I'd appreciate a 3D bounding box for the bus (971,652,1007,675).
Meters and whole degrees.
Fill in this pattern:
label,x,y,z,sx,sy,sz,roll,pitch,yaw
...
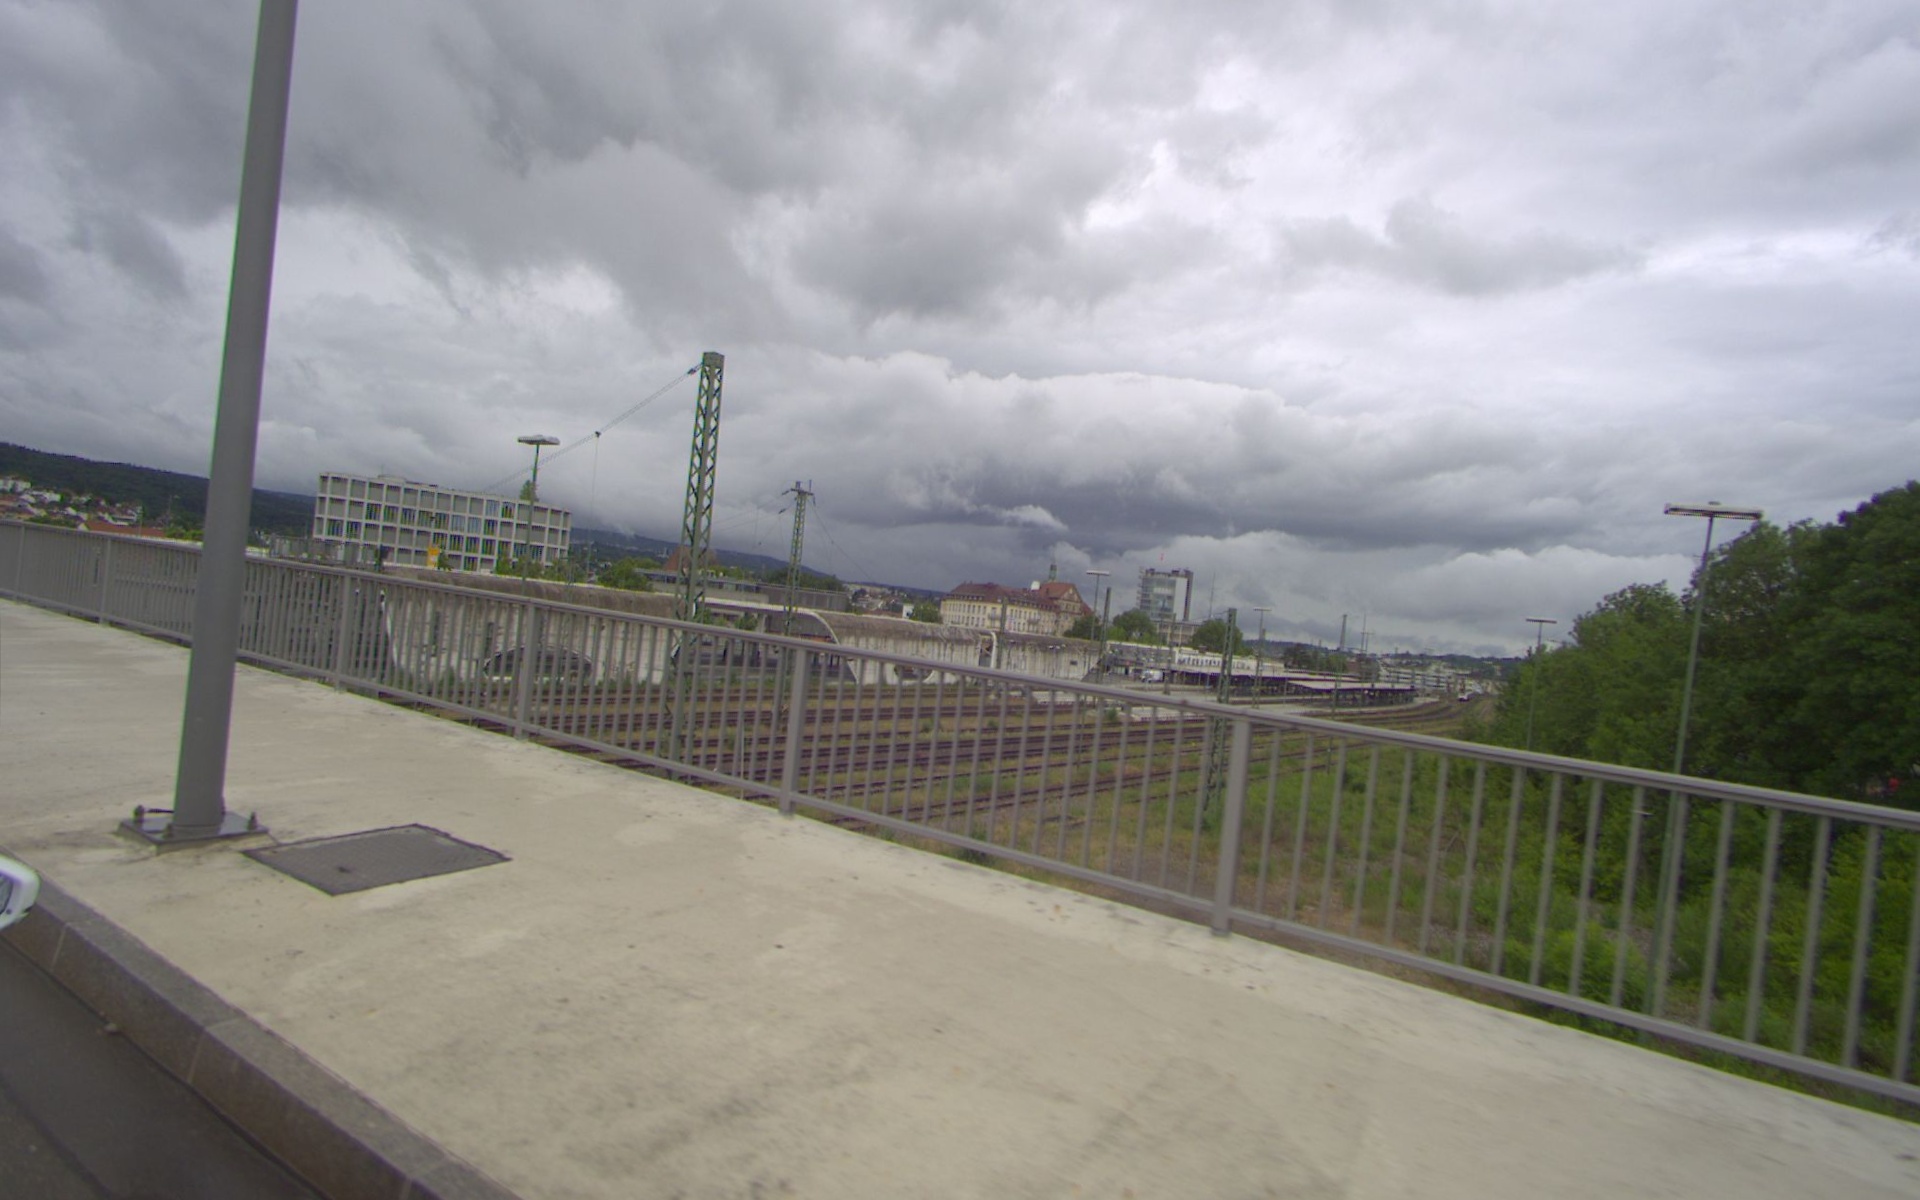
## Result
label,x,y,z,sx,sy,sz,roll,pitch,yaw
bus,4.919,10.698,168.006,2.567,3.247,6.980,5,-2,33
